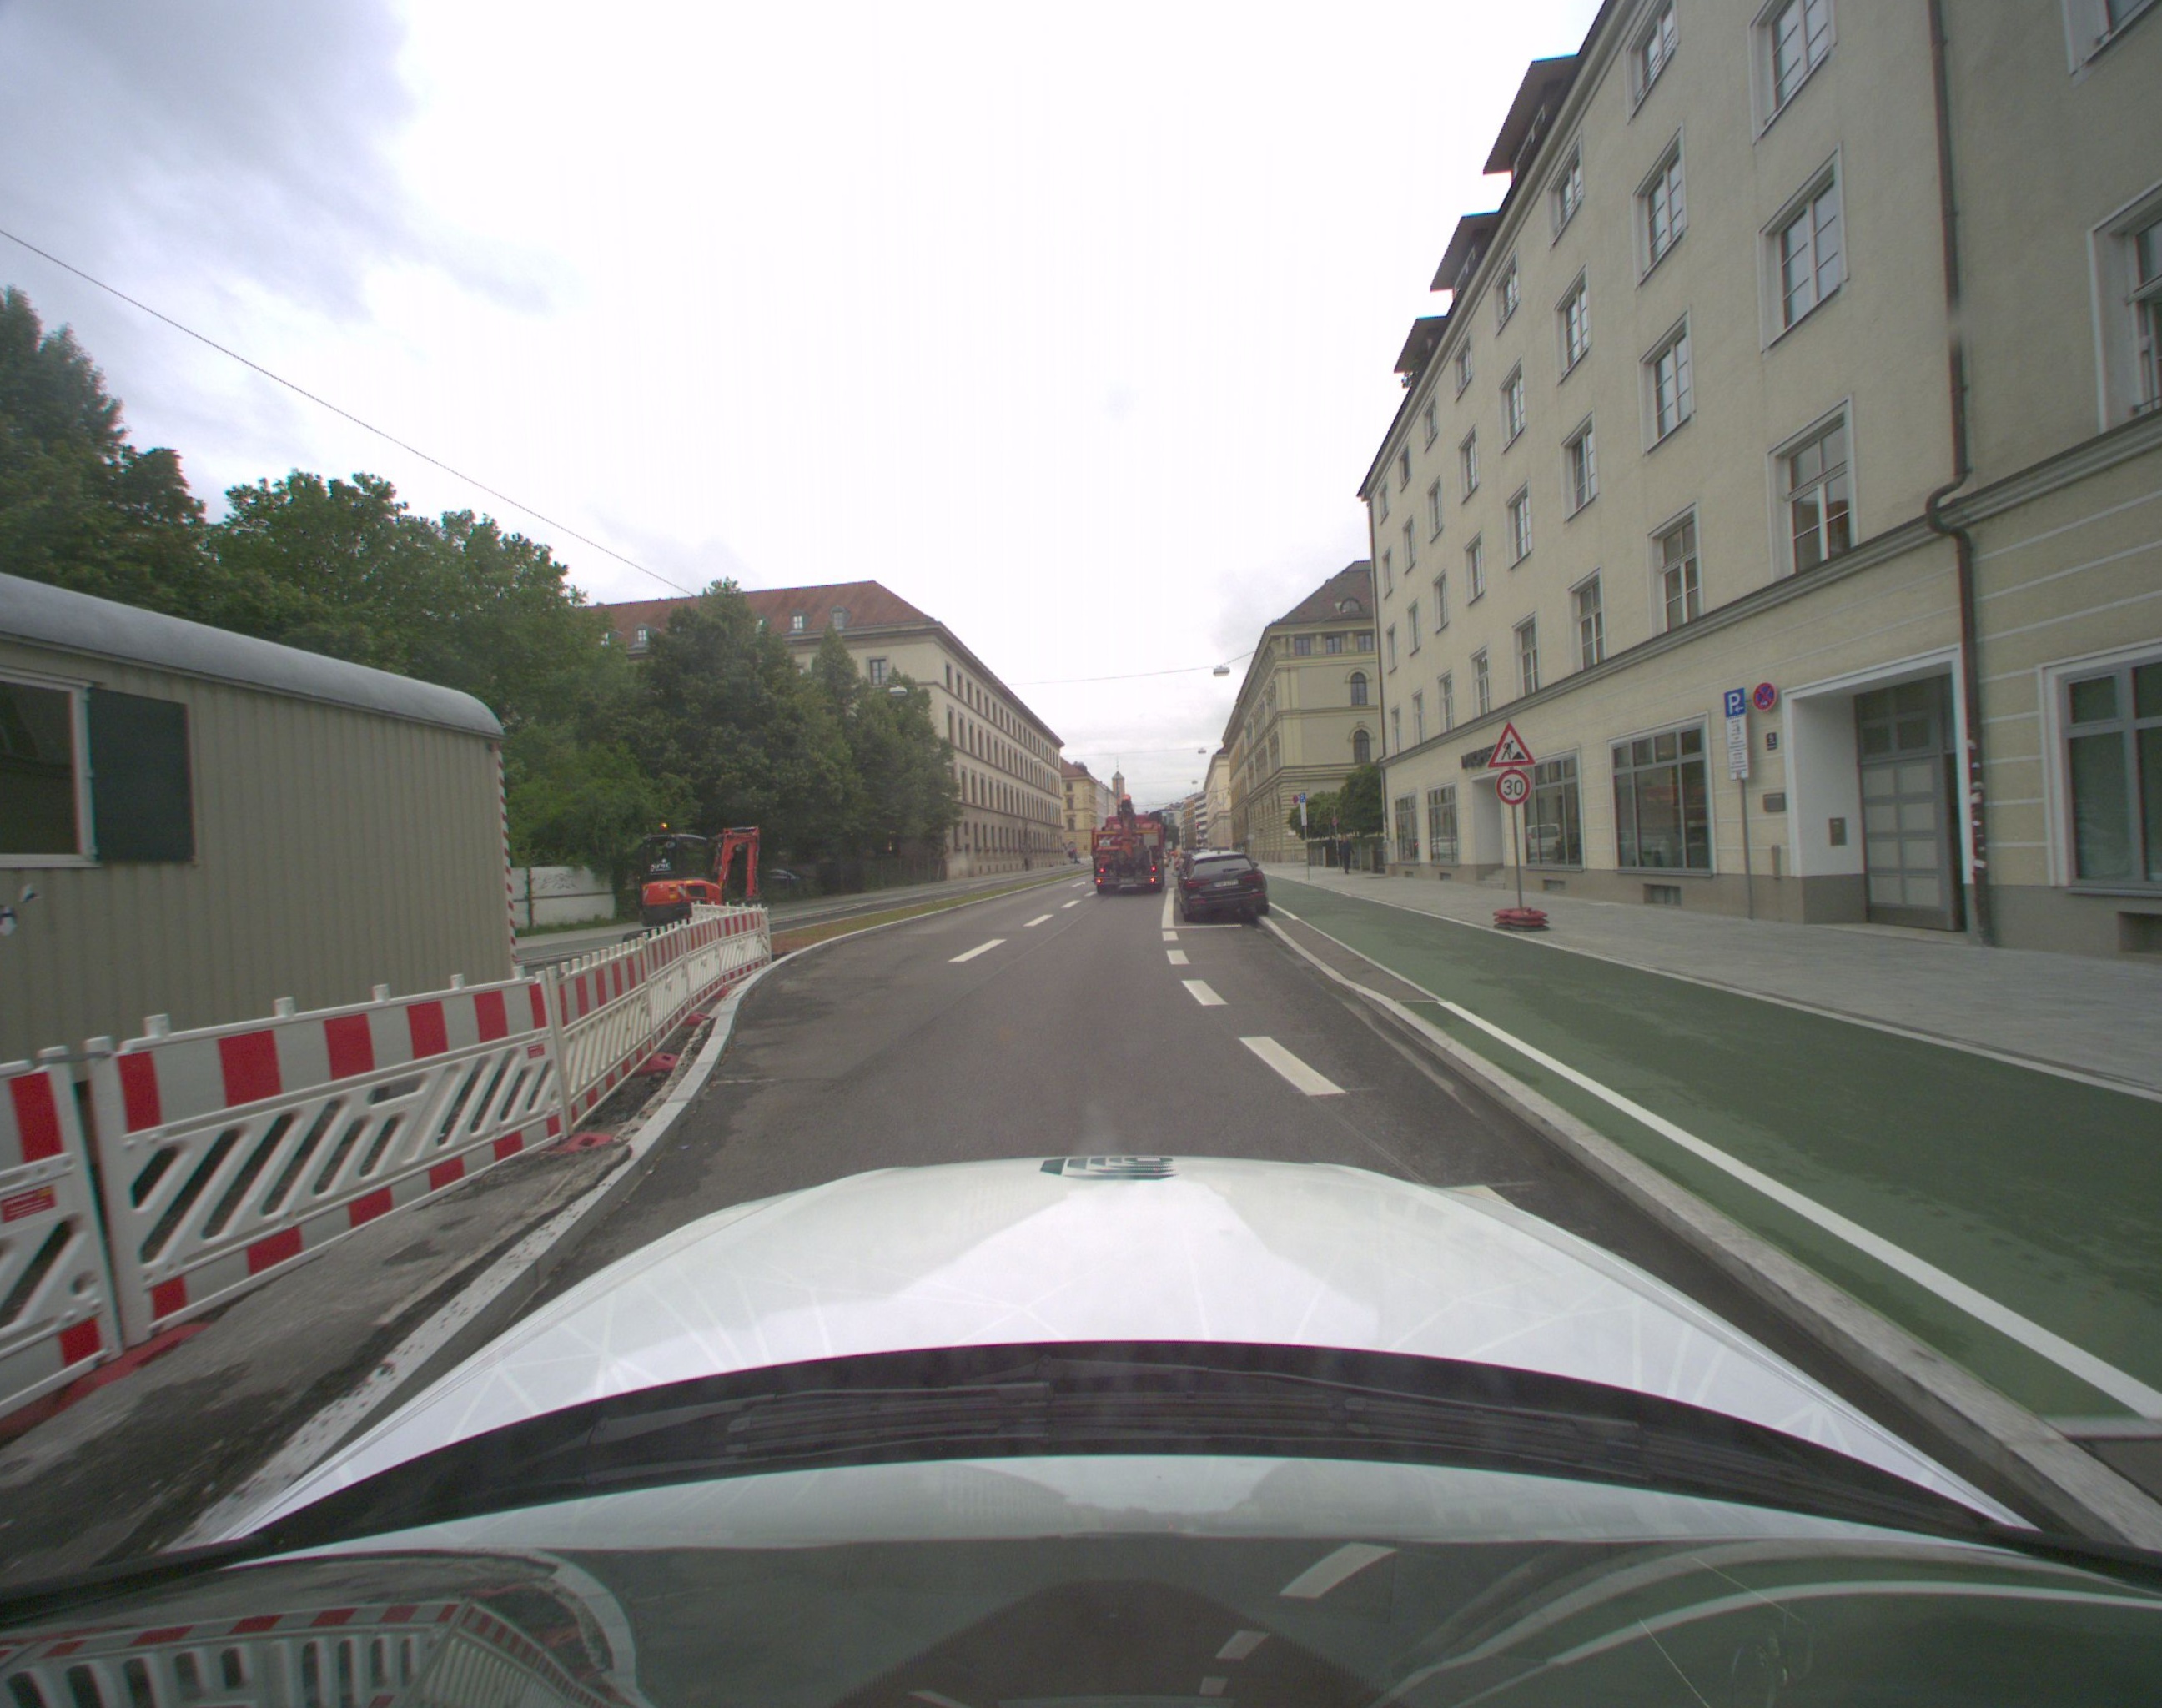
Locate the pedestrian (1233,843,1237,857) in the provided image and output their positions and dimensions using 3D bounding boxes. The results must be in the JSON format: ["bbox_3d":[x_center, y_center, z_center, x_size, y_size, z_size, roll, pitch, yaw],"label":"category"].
[{"bbox_3d":[20.740,-0.509,109.858,0.443,1.836,0.557,-3,0,8],"label":"pedestrian"}]

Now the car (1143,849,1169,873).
[{"bbox_3d":[5.167,0.471,55.704,1.602,1.495,3.431,-3,0,6],"label":"car"}]

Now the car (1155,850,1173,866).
[{"bbox_3d":[7.942,0.362,77.704,1.602,1.495,3.431,-3,0,6],"label":"car"}]

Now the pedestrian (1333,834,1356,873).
[{"bbox_3d":[12.491,-0.029,38.622,0.786,1.836,0.779,-3,0,8],"label":"pedestrian"}]

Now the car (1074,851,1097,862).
[{"bbox_3d":[0.808,0.512,154.693,3.964,1.947,2.005,-3,0,8],"label":"car"}]

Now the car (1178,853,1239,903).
[{"bbox_3d":[3.914,0.683,25.593,1.671,1.386,4.435,-2,0,7],"label":"car"}]

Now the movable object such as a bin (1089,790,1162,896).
[{"bbox_3d":[1.829,-0.391,31.349,2.411,3.611,5.861,-2,0,6],"label":"movable object such as a bin"}]

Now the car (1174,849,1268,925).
[{"bbox_3d":[3.148,0.666,19.142,1.793,1.480,4.694,-3,0,6],"label":"car"}]

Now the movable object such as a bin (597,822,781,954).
[{"bbox_3d":[-9.047,0.708,19.333,1.987,2.641,4.665,-3,0,0],"label":"movable object such as a bin"}]

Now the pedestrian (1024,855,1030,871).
[{"bbox_3d":[-6.454,1.090,96.601,0.586,1.831,0.499,-2,0,5],"label":"pedestrian"}]

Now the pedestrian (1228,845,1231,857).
[{"bbox_3d":[20.021,-0.388,109.962,0.335,1.672,0.441,-3,0,8],"label":"pedestrian"}]

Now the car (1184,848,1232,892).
[{"bbox_3d":[4.760,0.565,30.806,1.602,1.495,3.431,-3,0,6],"label":"car"}]

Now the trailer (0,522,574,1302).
[{"bbox_3d":[-5.612,0.270,3.156,2.218,3.243,7.523,-3,0,2],"label":"trailer"}]
